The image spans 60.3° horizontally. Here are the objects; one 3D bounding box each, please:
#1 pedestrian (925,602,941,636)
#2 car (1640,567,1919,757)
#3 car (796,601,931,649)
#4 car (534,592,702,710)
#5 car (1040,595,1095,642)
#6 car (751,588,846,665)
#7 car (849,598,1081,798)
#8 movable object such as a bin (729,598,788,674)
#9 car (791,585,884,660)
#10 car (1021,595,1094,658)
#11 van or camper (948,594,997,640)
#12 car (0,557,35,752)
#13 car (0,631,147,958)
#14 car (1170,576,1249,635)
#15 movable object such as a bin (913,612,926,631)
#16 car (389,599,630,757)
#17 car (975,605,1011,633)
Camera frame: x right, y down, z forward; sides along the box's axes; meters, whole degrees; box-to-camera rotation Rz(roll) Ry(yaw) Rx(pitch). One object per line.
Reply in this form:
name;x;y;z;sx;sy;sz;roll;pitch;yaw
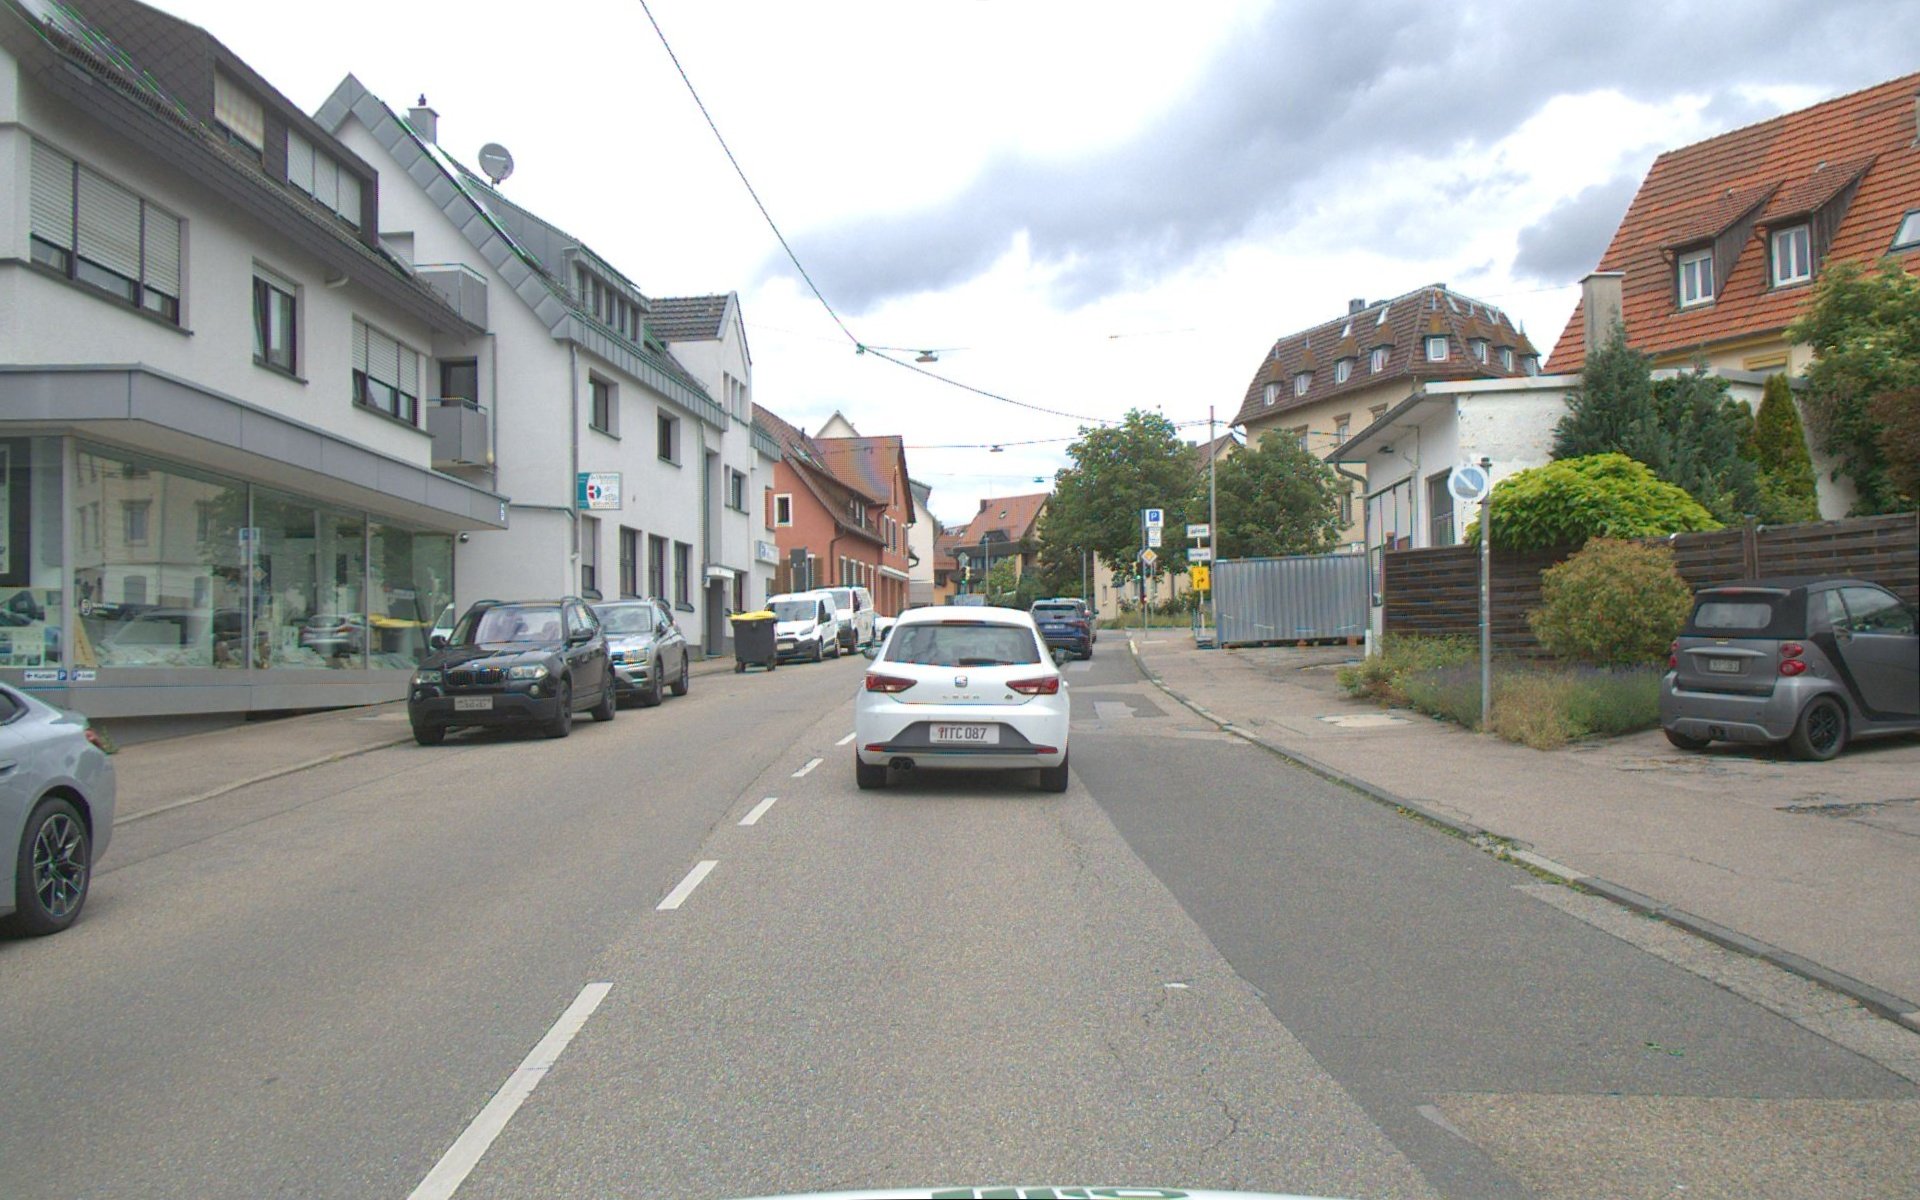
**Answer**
pedestrian;-1.451;0.996;88.822;0.783;1.816;0.893;-1;-1;5
car;8.169;0.493;15.217;3.265;1.545;1.693;-2;0;-21
car;-3.422;0.883;59.239;4.456;1.470;2.002;-3;0;8
car;-5.373;0.749;26.547;1.800;1.661;4.407;-2;0;-1
car;3.564;0.646;54.838;1.721;1.477;4.001;-1;-2;3
car;-4.247;0.669;44.099;1.697;1.863;4.300;-3;0;5
car;0.133;0.758;14.439;1.722;1.477;4.001;-1;-1;3
movable object such as a bin;-4.633;0.814;38.131;1.117;1.661;1.562;-2;0;-1
car;-3.606;0.627;49.571;1.774;2.040;4.767;-3;0;7
car;2.433;0.679;41.385;1.721;1.477;4.001;-1;-2;3
van or camper;0.672;0.881;83.547;2.030;2.041;4.859;-3;-3;5
car;-11.273;0.592;15.611;3.905;1.888;2.000;-2;0;0
car;-5.292;0.948;6.763;1.801;1.470;4.465;-3;0;-2
car;8.059;0.170;53.808;1.711;1.770;4.570;-3;0;-1
movable object such as a bin;-2.284;1.211;92.653;0.652;1.036;0.795;-2;-1;2
car;-5.457;0.867;20.644;1.800;1.661;4.407;-3;0;-1
car;2.012;1.192;103.365;1.958;1.662;4.855;0;-1;-2
